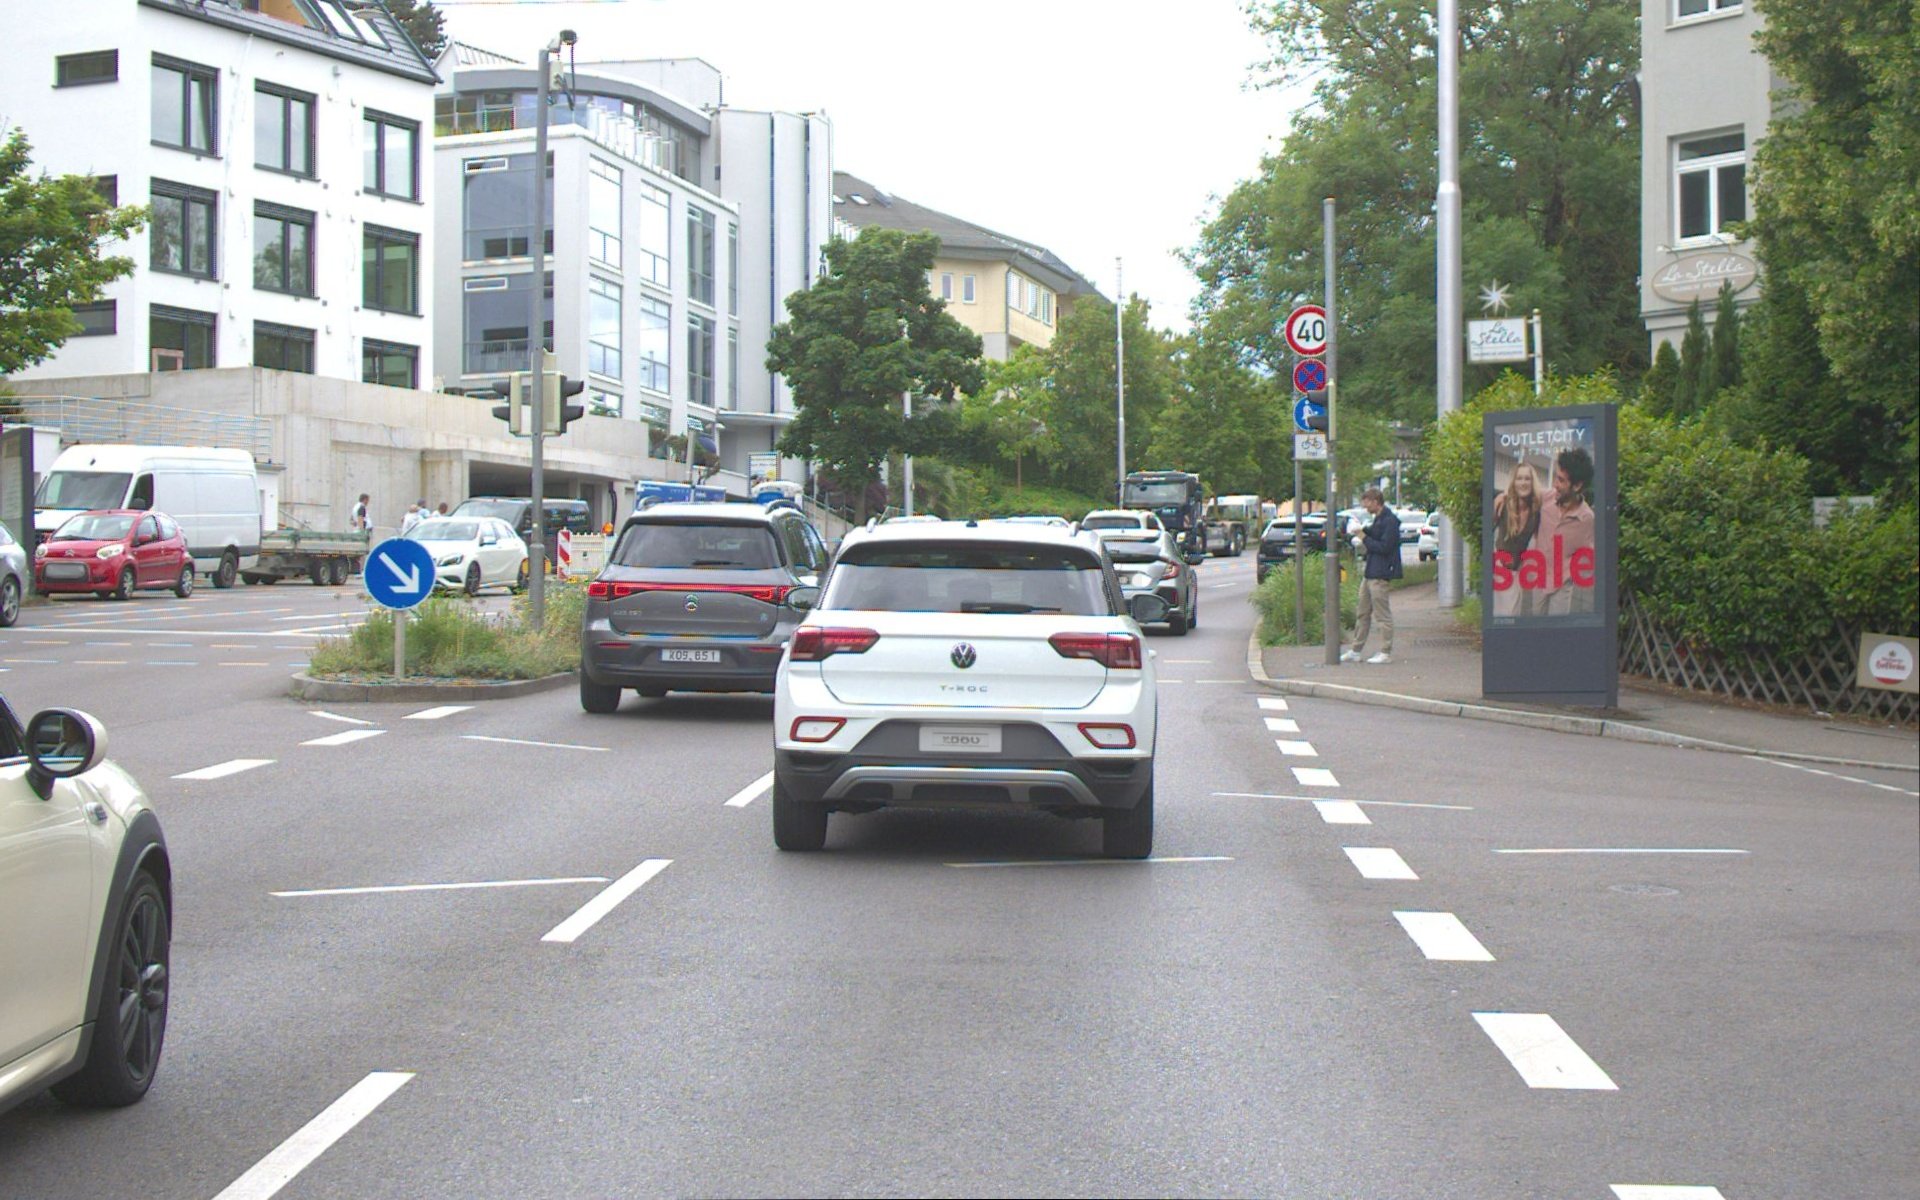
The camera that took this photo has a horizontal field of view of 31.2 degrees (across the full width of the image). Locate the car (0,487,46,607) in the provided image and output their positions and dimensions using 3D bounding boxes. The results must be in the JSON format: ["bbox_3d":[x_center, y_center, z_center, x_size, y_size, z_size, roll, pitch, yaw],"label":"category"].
[{"bbox_3d":[-12.507,-0.642,40.924,1.651,1.444,4.566,2,2,5],"label":"car"}]

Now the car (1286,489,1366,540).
[{"bbox_3d":[10.891,-2.547,102.079,1.859,1.495,4.053,0,2,14],"label":"car"}]

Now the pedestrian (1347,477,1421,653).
[{"bbox_3d":[4.482,-0.378,36.410,0.693,1.827,0.620,2,1,5],"label":"pedestrian"}]

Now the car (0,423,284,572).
[{"bbox_3d":[-14.917,-1.856,62.771,2.232,2.559,7.418,1,2,13],"label":"car"}]

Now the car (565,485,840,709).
[{"bbox_3d":[-1.982,-0.085,27.688,1.813,1.646,4.636,0,1,1],"label":"car"}]

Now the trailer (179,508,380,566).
[{"bbox_3d":[-13.526,-1.272,68.634,2.248,1.108,4.620,1,2,13],"label":"trailer"}]

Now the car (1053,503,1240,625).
[{"bbox_3d":[2.630,-0.494,47.459,1.874,1.496,4.553,4,1,11],"label":"car"}]

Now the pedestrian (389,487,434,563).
[{"bbox_3d":[-11.969,-1.637,75.042,0.674,1.634,0.672,1,2,-35],"label":"pedestrian"}]

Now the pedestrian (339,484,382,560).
[{"bbox_3d":[-13.065,-1.701,74.959,0.626,1.634,0.671,3,2,19],"label":"pedestrian"}]

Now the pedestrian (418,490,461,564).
[{"bbox_3d":[-11.697,-1.637,77.304,0.674,1.634,0.672,1,2,-35],"label":"pedestrian"}]

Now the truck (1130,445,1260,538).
[{"bbox_3d":[8.051,-3.654,116.632,2.963,2.961,8.973,2,2,13],"label":"truck"}]

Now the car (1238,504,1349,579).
[{"bbox_3d":[7.474,-1.288,76.737,1.874,1.496,4.552,4,1,12],"label":"car"}]

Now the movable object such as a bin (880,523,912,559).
[{"bbox_3d":[-1.763,-1.631,94.845,0.646,0.986,0.659,2,2,23],"label":"movable object such as a bin"}]

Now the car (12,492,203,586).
[{"bbox_3d":[-13.813,-1.003,55.900,1.622,1.460,3.925,1,2,9],"label":"car"}]

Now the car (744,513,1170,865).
[{"bbox_3d":[-0.124,0.342,16.945,1.811,1.534,3.690,0,1,-4],"label":"car"}]

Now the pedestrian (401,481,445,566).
[{"bbox_3d":[-11.909,-1.693,76.221,0.674,1.834,0.672,1,2,-35],"label":"pedestrian"}]

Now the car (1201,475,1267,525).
[{"bbox_3d":[12.900,-4.710,161.566,2.070,2.298,5.461,1,2,16],"label":"car"}]

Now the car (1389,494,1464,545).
[{"bbox_3d":[14.103,-2.428,103.801,1.859,1.495,4.053,0,2,14],"label":"car"}]

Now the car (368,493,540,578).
[{"bbox_3d":[-9.002,-1.148,61.481,1.652,1.388,4.142,3,1,12],"label":"car"}]

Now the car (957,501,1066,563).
[{"bbox_3d":[1.352,-1.735,88.364,1.693,1.496,4.552,2,1,15],"label":"car"}]

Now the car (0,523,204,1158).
[{"bbox_3d":[-2.930,0.536,7.484,1.628,1.388,3.566,0,1,3],"label":"car"}]

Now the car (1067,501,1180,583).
[{"bbox_3d":[3.438,-1.232,71.492,1.859,1.646,4.635,0,1,9],"label":"car"}]
